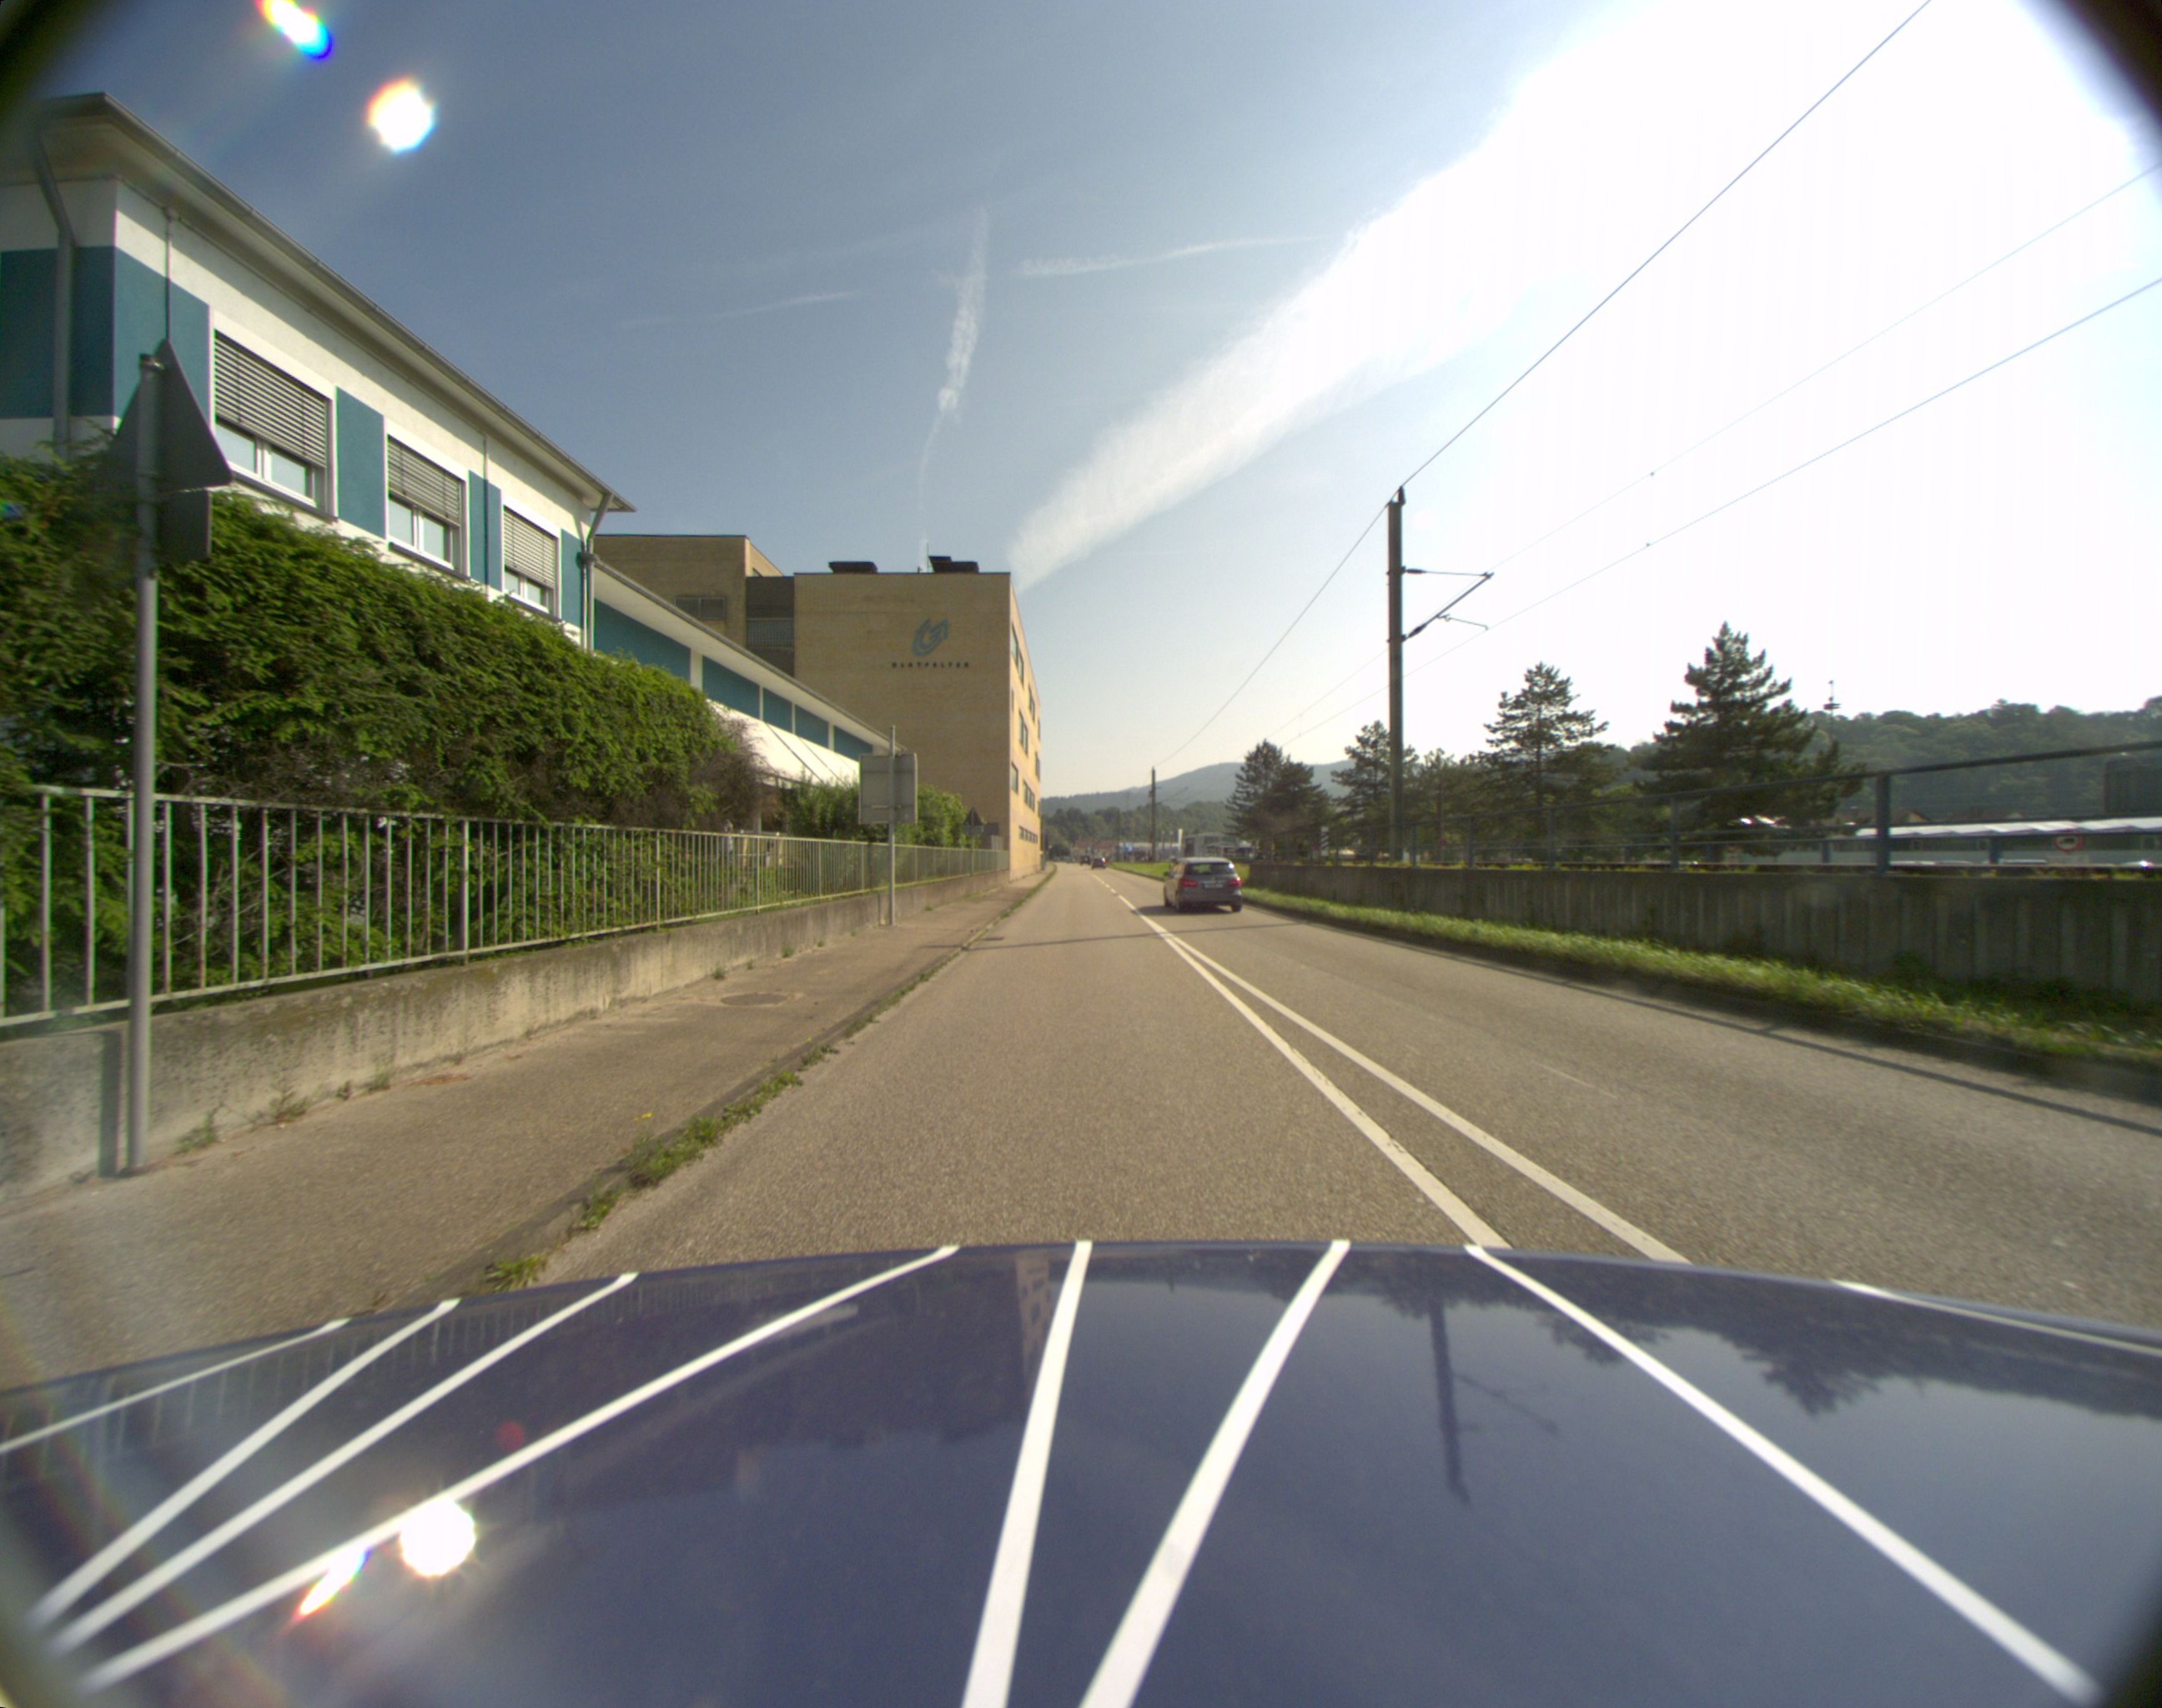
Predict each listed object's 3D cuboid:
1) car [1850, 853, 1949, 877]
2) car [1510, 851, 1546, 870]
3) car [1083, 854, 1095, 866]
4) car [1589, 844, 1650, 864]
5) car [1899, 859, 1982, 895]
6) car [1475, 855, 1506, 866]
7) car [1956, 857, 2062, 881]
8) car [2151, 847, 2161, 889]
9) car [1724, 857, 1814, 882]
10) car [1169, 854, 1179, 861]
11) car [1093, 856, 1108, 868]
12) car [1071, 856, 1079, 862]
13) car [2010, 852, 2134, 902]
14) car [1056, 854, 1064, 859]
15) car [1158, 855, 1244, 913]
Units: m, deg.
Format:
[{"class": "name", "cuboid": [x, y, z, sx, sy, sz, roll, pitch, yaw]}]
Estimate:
[{"class": "car", "cuboid": [46.163, 0.606, 42.961, 3.526, 1.317, 1.460, 0, 1, 32]}, {"class": "car", "cuboid": [33.072, 0.480, 56.213, 1.515, 1.349, 3.529, 1, 1, 43]}, {"class": "car", "cuboid": [1.360, 1.000, 136.668, 1.763, 2.066, 4.806, -2, 0, -3]}, {"class": "car", "cuboid": [47.376, -0.005, 66.906, 2.004, 1.710, 3.989, -1, 0, -41]}, {"class": "car", "cuboid": [34.015, 0.875, 30.168, 1.453, 1.317, 3.544, 1, 0, 36]}, {"class": "car", "cuboid": [57.302, 0.890, 106.488, 1.684, 1.539, 3.996, 0, 0, -10]}, {"class": "car", "cuboid": [52.454, 0.825, 43.036, 3.526, 1.317, 1.460, 0, 1, 32]}, {"class": "car", "cuboid": [45.952, 0.545, 30.481, 4.000, 1.710, 1.998, -1, 0, -10]}, {"class": "car", "cuboid": [38.440, 0.851, 42.540, 3.527, 1.317, 1.460, 0, 1, 32]}, {"class": "car", "cuboid": [24.154, 0.843, 196.940, 1.523, 1.679, 4.367, -2, 1, -8]}, {"class": "car", "cuboid": [2.510, 1.016, 98.432, 1.735, 1.517, 4.092, -1, 0, 0]}, {"class": "car", "cuboid": [-1.507, 1.218, 193.199, 1.773, 1.397, 4.295, 0, 0, -3]}, {"class": "car", "cuboid": [35.523, 0.766, 27.372, 1.641, 1.678, 3.814, 0, 0, 35]}, {"class": "car", "cuboid": [-7.050, 0.755, 253.753, 1.913, 1.591, 4.566, -1, 1, -8]}, {"class": "car", "cuboid": [3.439, 0.798, 22.459, 1.746, 1.498, 4.198, -1, 0, -2]}]
